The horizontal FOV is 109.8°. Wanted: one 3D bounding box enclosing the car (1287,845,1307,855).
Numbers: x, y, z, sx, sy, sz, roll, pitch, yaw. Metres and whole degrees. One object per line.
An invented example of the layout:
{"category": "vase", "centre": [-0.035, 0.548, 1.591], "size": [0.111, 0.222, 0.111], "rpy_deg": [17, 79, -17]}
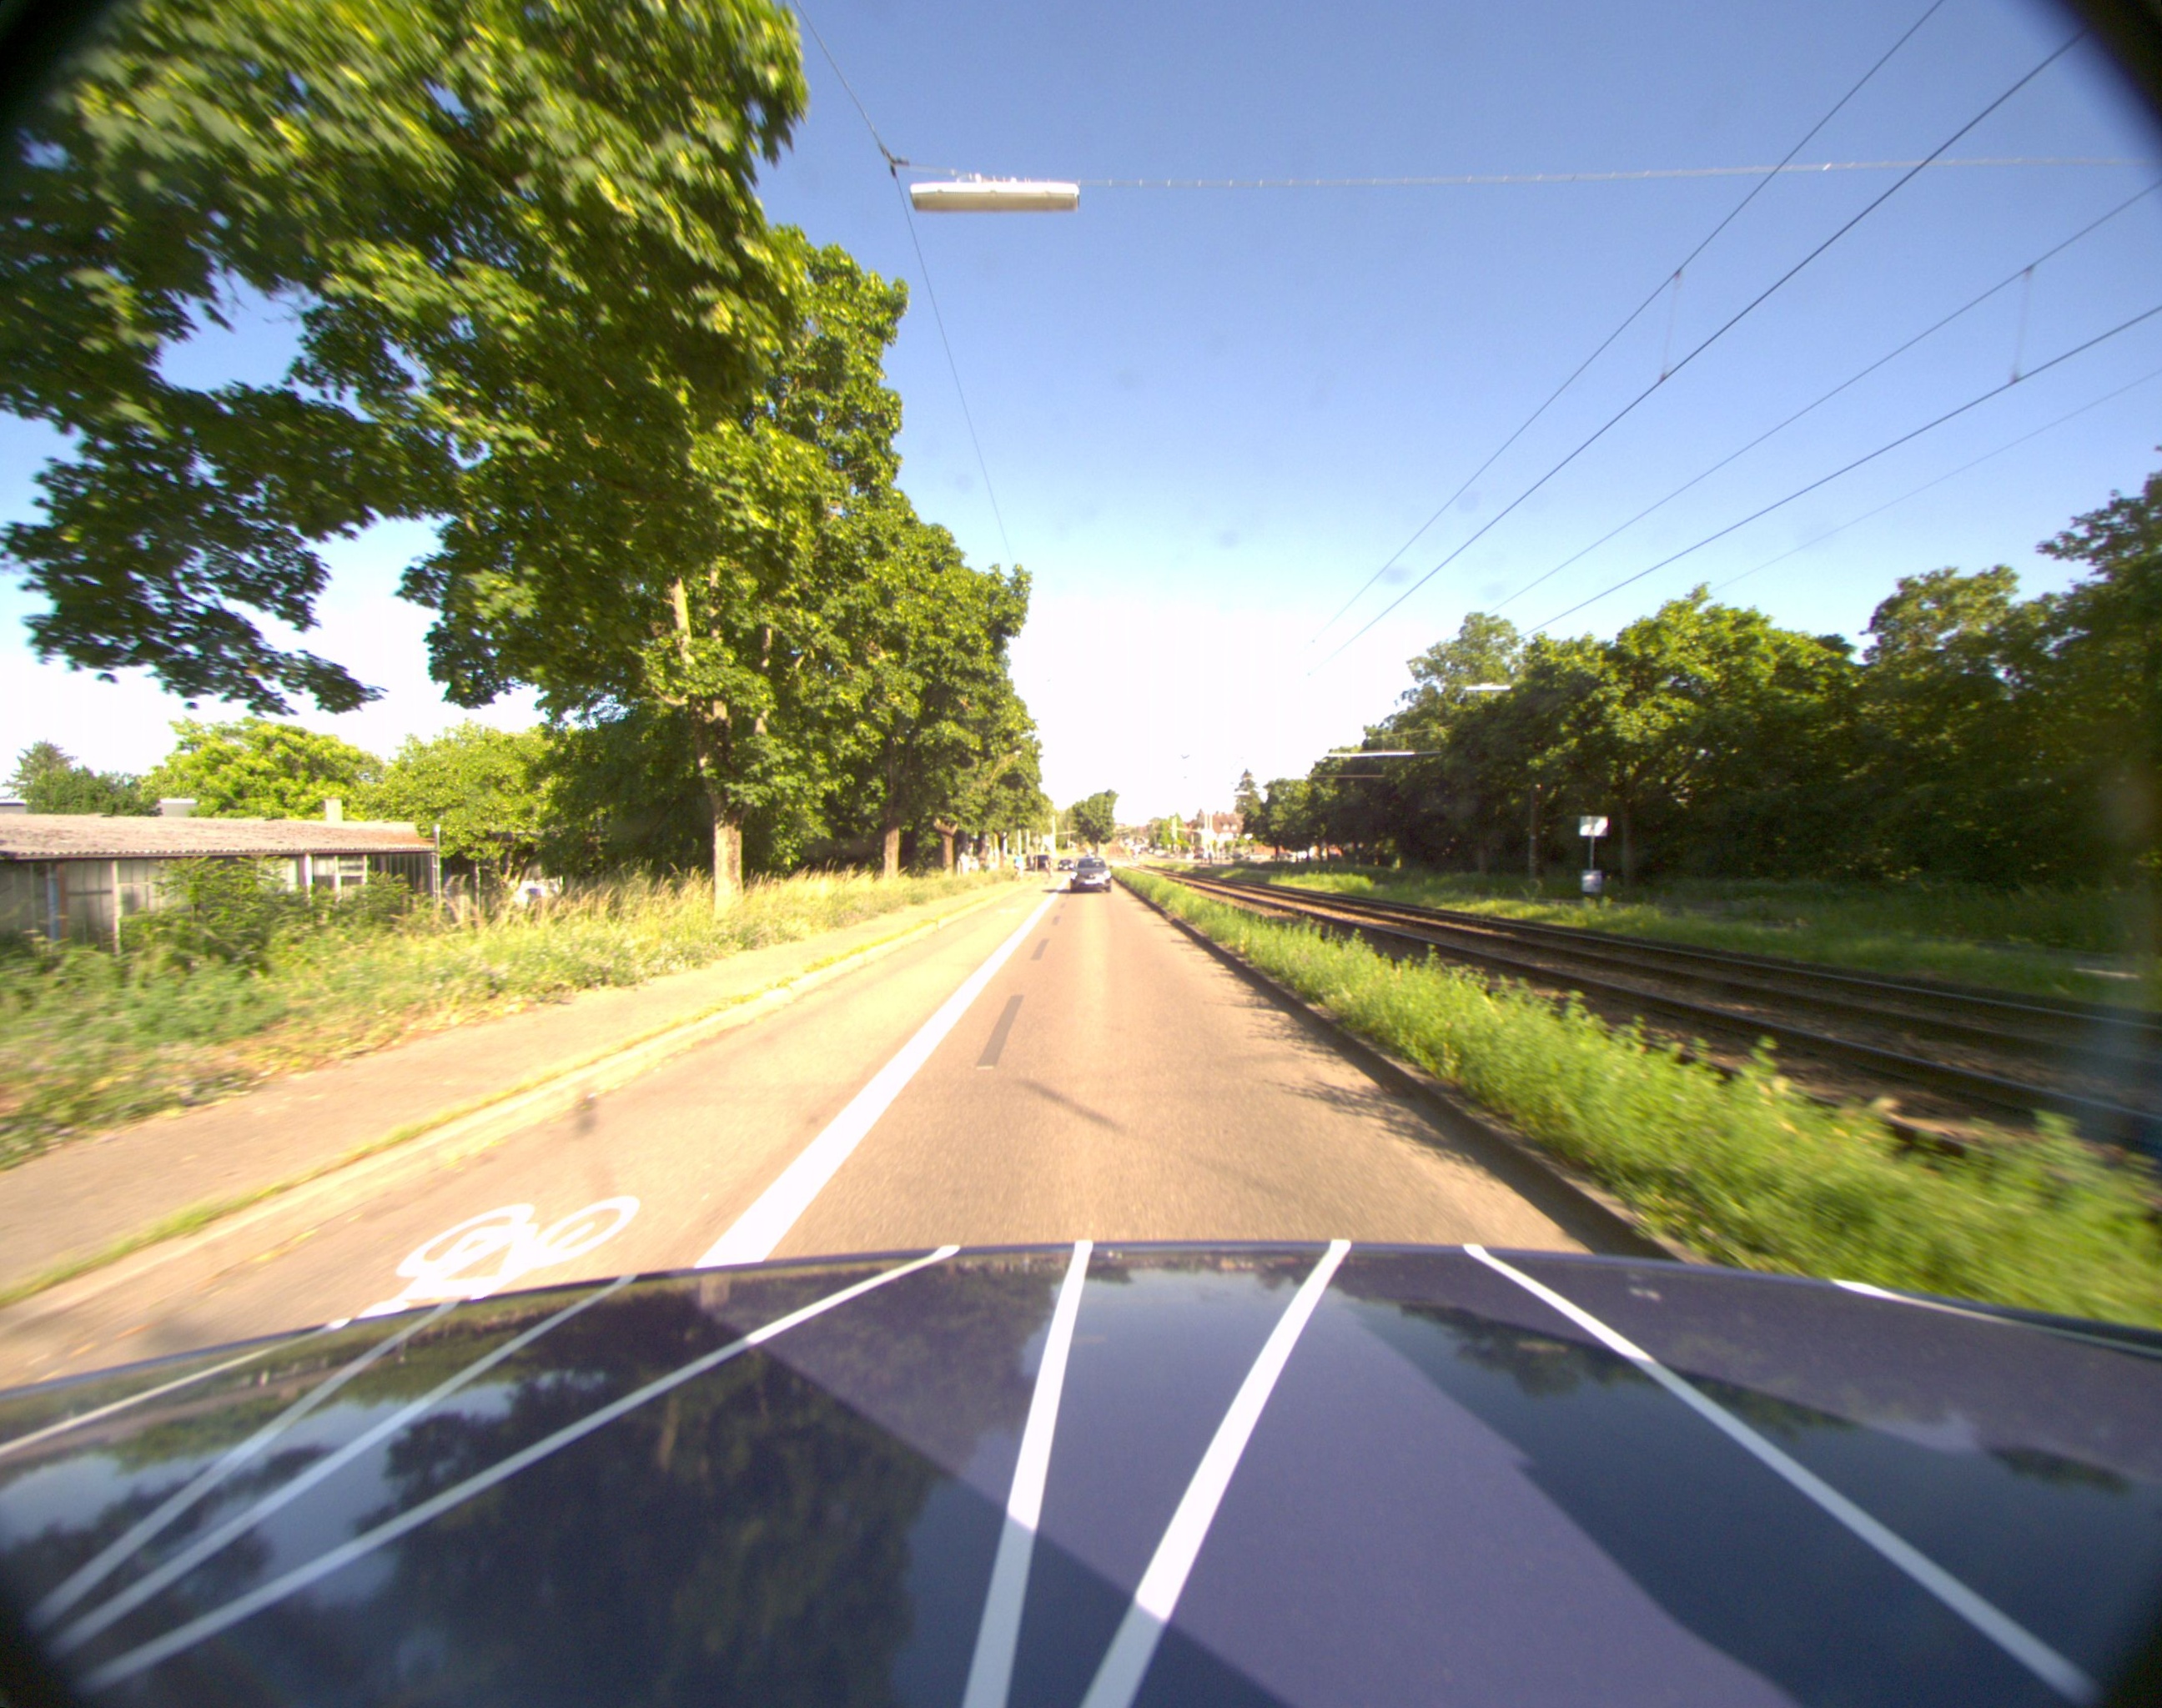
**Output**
{"category": "car", "centre": [48.568, -0.896, 170.723], "size": [4.003, 1.936, 1.968], "rpy_deg": [-2, 1, -19]}

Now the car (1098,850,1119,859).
{"category": "car", "centre": [5.908, 0.085, 162.986], "size": [4.003, 1.936, 1.968], "rpy_deg": [-2, 1, -19]}

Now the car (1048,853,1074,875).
{"category": "car", "centre": [-1.536, 0.794, 60.800], "size": [1.814, 1.625, 4.128], "rpy_deg": [-2, 1, 1]}

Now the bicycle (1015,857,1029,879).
{"category": "bicycle", "centre": [-3.762, 0.869, 48.383], "size": [0.647, 1.344, 2.240], "rpy_deg": [-2, 1, 1]}

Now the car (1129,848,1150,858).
{"category": "car", "centre": [12.743, -0.189, 165.646], "size": [4.003, 1.936, 1.968], "rpy_deg": [-2, 1, -19]}

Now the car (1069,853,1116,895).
{"category": "car", "centre": [0.524, 0.853, 33.590], "size": [1.814, 1.625, 4.711], "rpy_deg": [-3, -1, 1]}

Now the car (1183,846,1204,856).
{"category": "car", "centre": [25.054, -0.673, 169.254], "size": [4.003, 1.936, 1.968], "rpy_deg": [-2, 1, -19]}

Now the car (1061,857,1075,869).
{"category": "car", "centre": [-1.515, 1.028, 89.722], "size": [1.563, 1.279, 3.455], "rpy_deg": [-2, 1, 1]}

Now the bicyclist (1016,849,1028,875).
{"category": "bicyclist", "centre": [-3.773, 0.509, 48.454], "size": [0.655, 1.575, 0.698], "rpy_deg": [-2, 1, 1]}
